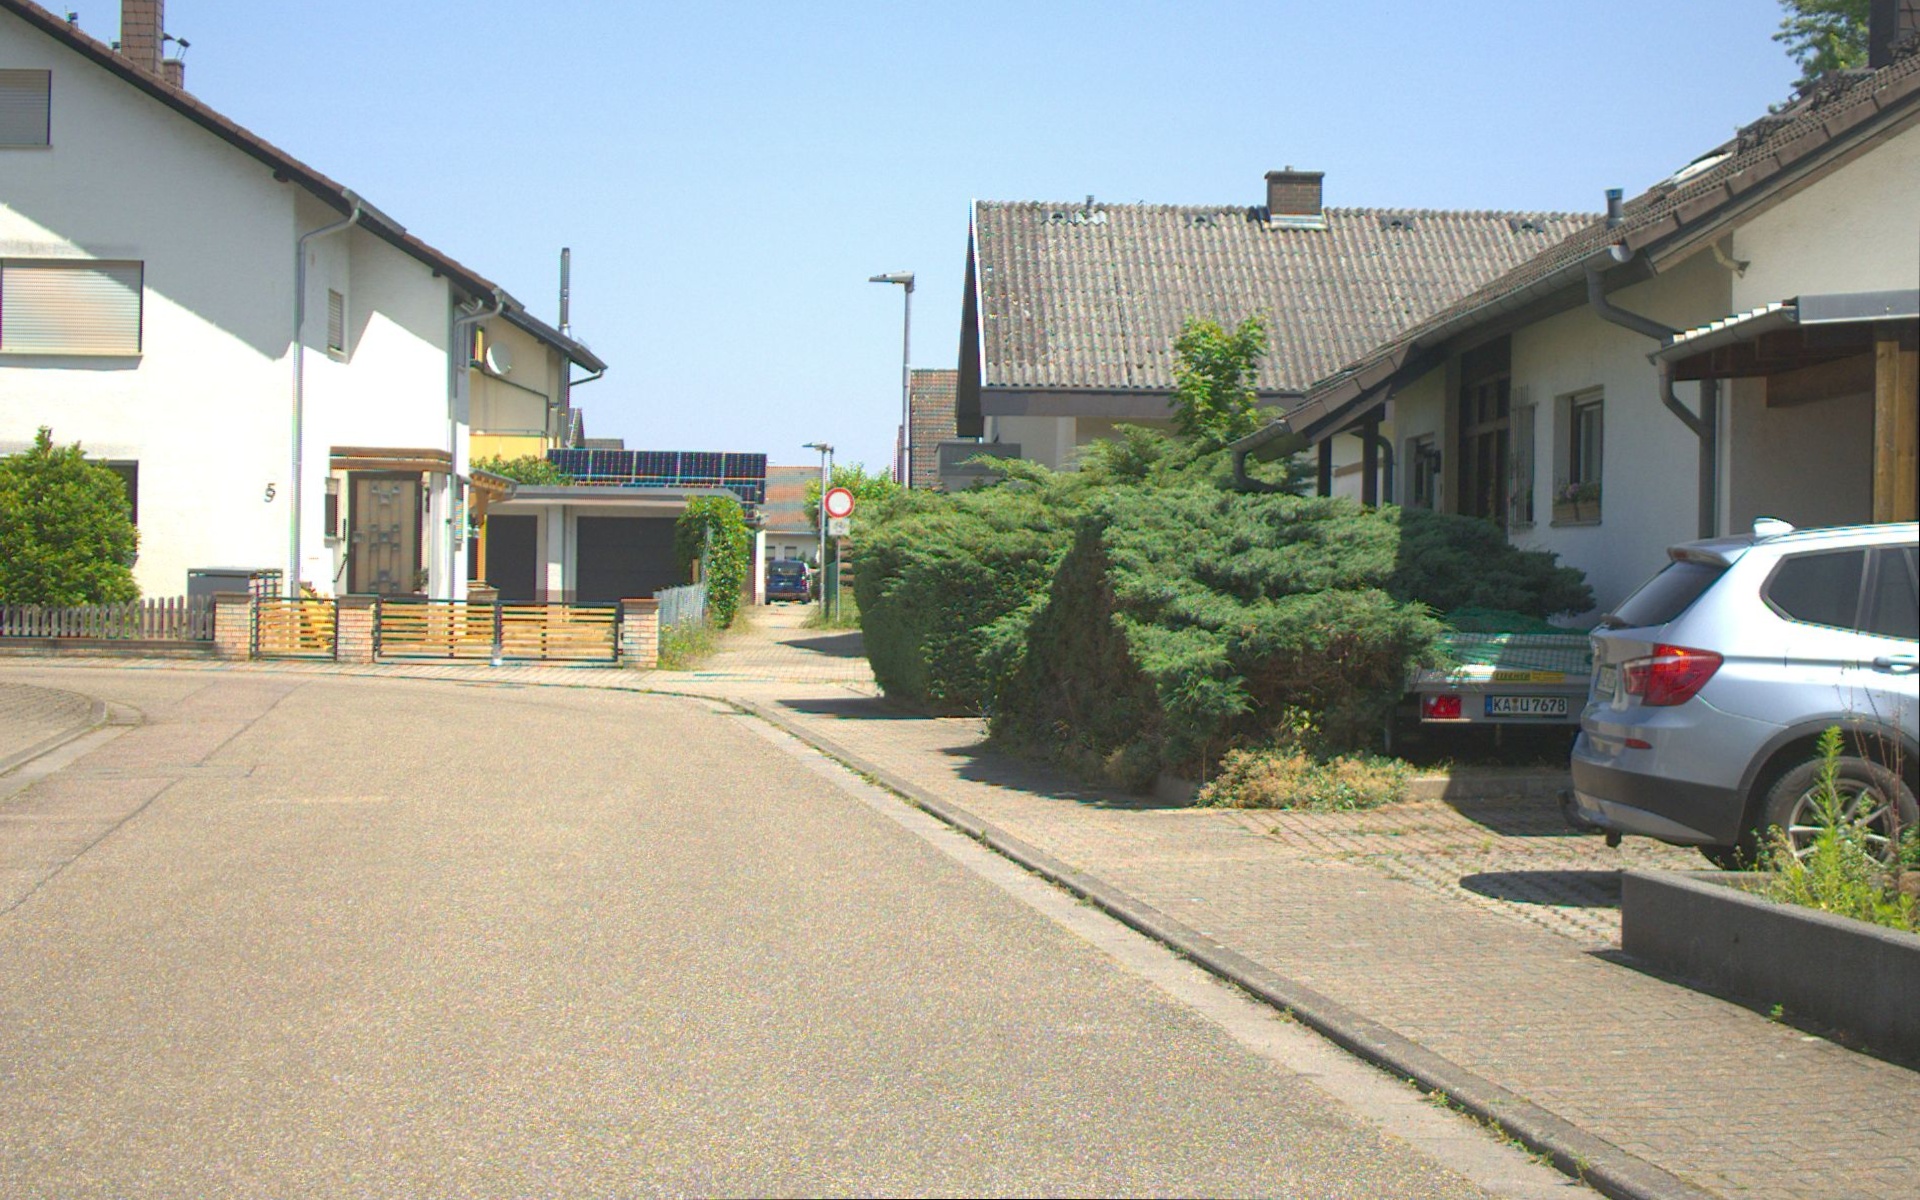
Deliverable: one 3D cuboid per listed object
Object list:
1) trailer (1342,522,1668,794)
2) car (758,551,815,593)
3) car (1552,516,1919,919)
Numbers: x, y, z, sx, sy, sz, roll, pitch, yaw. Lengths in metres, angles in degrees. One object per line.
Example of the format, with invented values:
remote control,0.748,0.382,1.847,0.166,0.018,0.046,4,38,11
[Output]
trailer,3.558,0.324,22.921,1.587,1.666,3.297,-1,1,-1
car,-7.085,-1.156,140.877,2.193,1.696,3.807,1,1,-1
car,5.098,0.473,15.359,4.627,1.696,1.709,0,1,2
